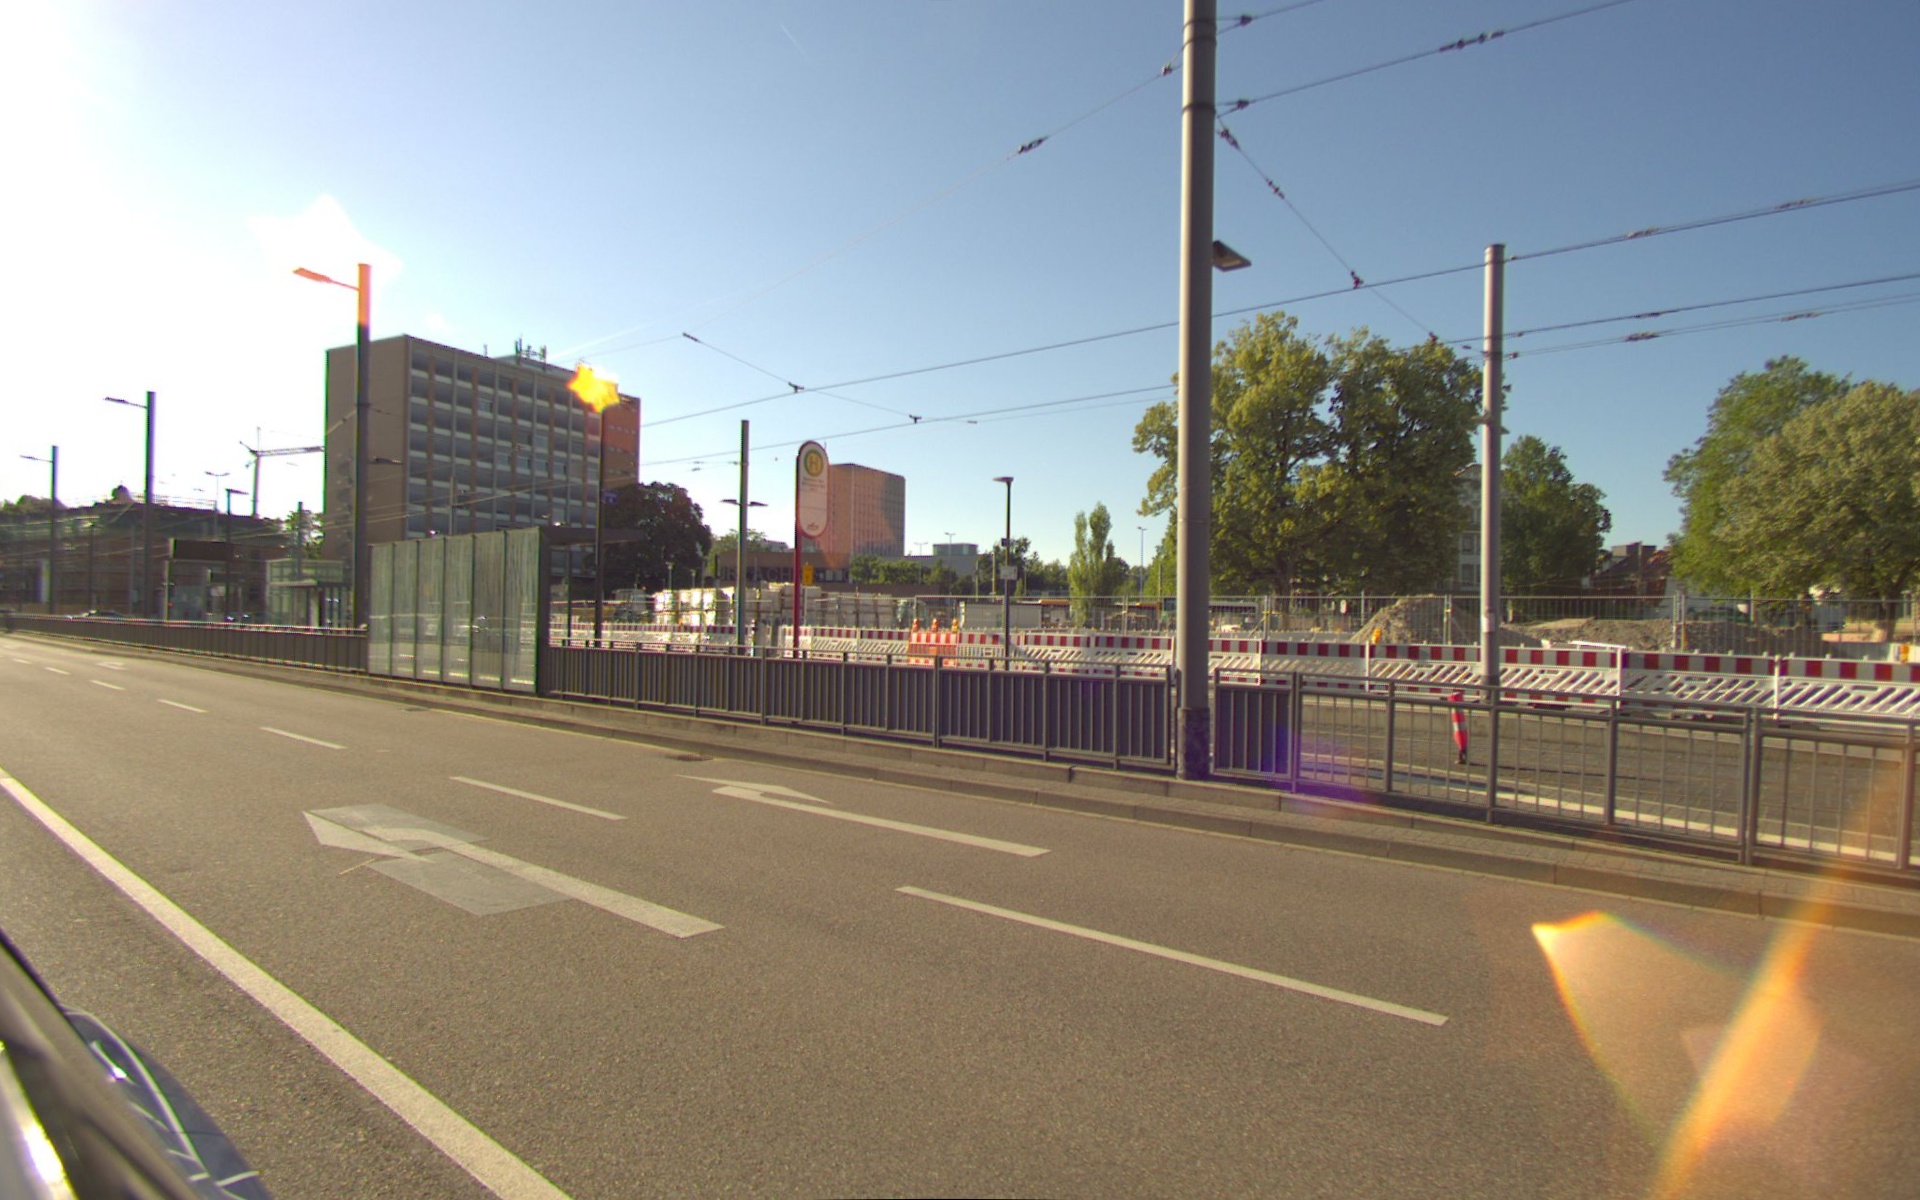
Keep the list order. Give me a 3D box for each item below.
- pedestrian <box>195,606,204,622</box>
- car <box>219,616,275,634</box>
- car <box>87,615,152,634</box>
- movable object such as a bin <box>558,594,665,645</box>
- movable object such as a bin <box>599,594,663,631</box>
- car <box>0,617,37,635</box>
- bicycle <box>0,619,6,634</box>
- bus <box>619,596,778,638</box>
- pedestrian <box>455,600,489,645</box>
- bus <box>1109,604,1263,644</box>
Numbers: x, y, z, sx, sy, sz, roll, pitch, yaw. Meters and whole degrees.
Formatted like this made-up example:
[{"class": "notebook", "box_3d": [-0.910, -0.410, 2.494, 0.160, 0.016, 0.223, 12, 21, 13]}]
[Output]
[{"class": "pedestrian", "box_3d": [-83.418, 1.532, 110.957, 0.721, 1.752, 0.623, 2, -1, -39]}, {"class": "car", "box_3d": [-72.979, 2.599, 103.691, 4.628, 1.697, 2.005, 2, -5, -35]}, {"class": "car", "box_3d": [-82.013, 2.389, 98.863, 4.628, 1.697, 2.005, 2, -5, -35]}, {"class": "movable object such as a bin", "box_3d": [-19.113, 1.102, 55.503, 5.136, 2.545, 2.615, -2, -4, 23]}, {"class": "movable object such as a bin", "box_3d": [-16.441, 0.651, 50.542, 3.861, 1.599, 1.161, -4, -5, 40]}, {"class": "car", "box_3d": [-91.521, 2.490, 96.654, 4.627, 1.697, 2.006, 2, -5, -31]}, {"class": "bicycle", "box_3d": [-62.129, 1.657, 64.438, 0.814, 0.949, 1.872, 0, -3, 35]}, {"class": "bus", "box_3d": [-21.354, 1.383, 83.308, 12.465, 3.219, 2.845, 0, -4, -6]}, {"class": "pedestrian", "box_3d": [-19.905, 0.924, 41.269, 1.179, 1.782, 0.794, -4, -5, 40]}, {"class": "bus", "box_3d": [19.496, 2.080, 87.550, 12.465, 3.219, 3.255, 0, -4, -6]}]
